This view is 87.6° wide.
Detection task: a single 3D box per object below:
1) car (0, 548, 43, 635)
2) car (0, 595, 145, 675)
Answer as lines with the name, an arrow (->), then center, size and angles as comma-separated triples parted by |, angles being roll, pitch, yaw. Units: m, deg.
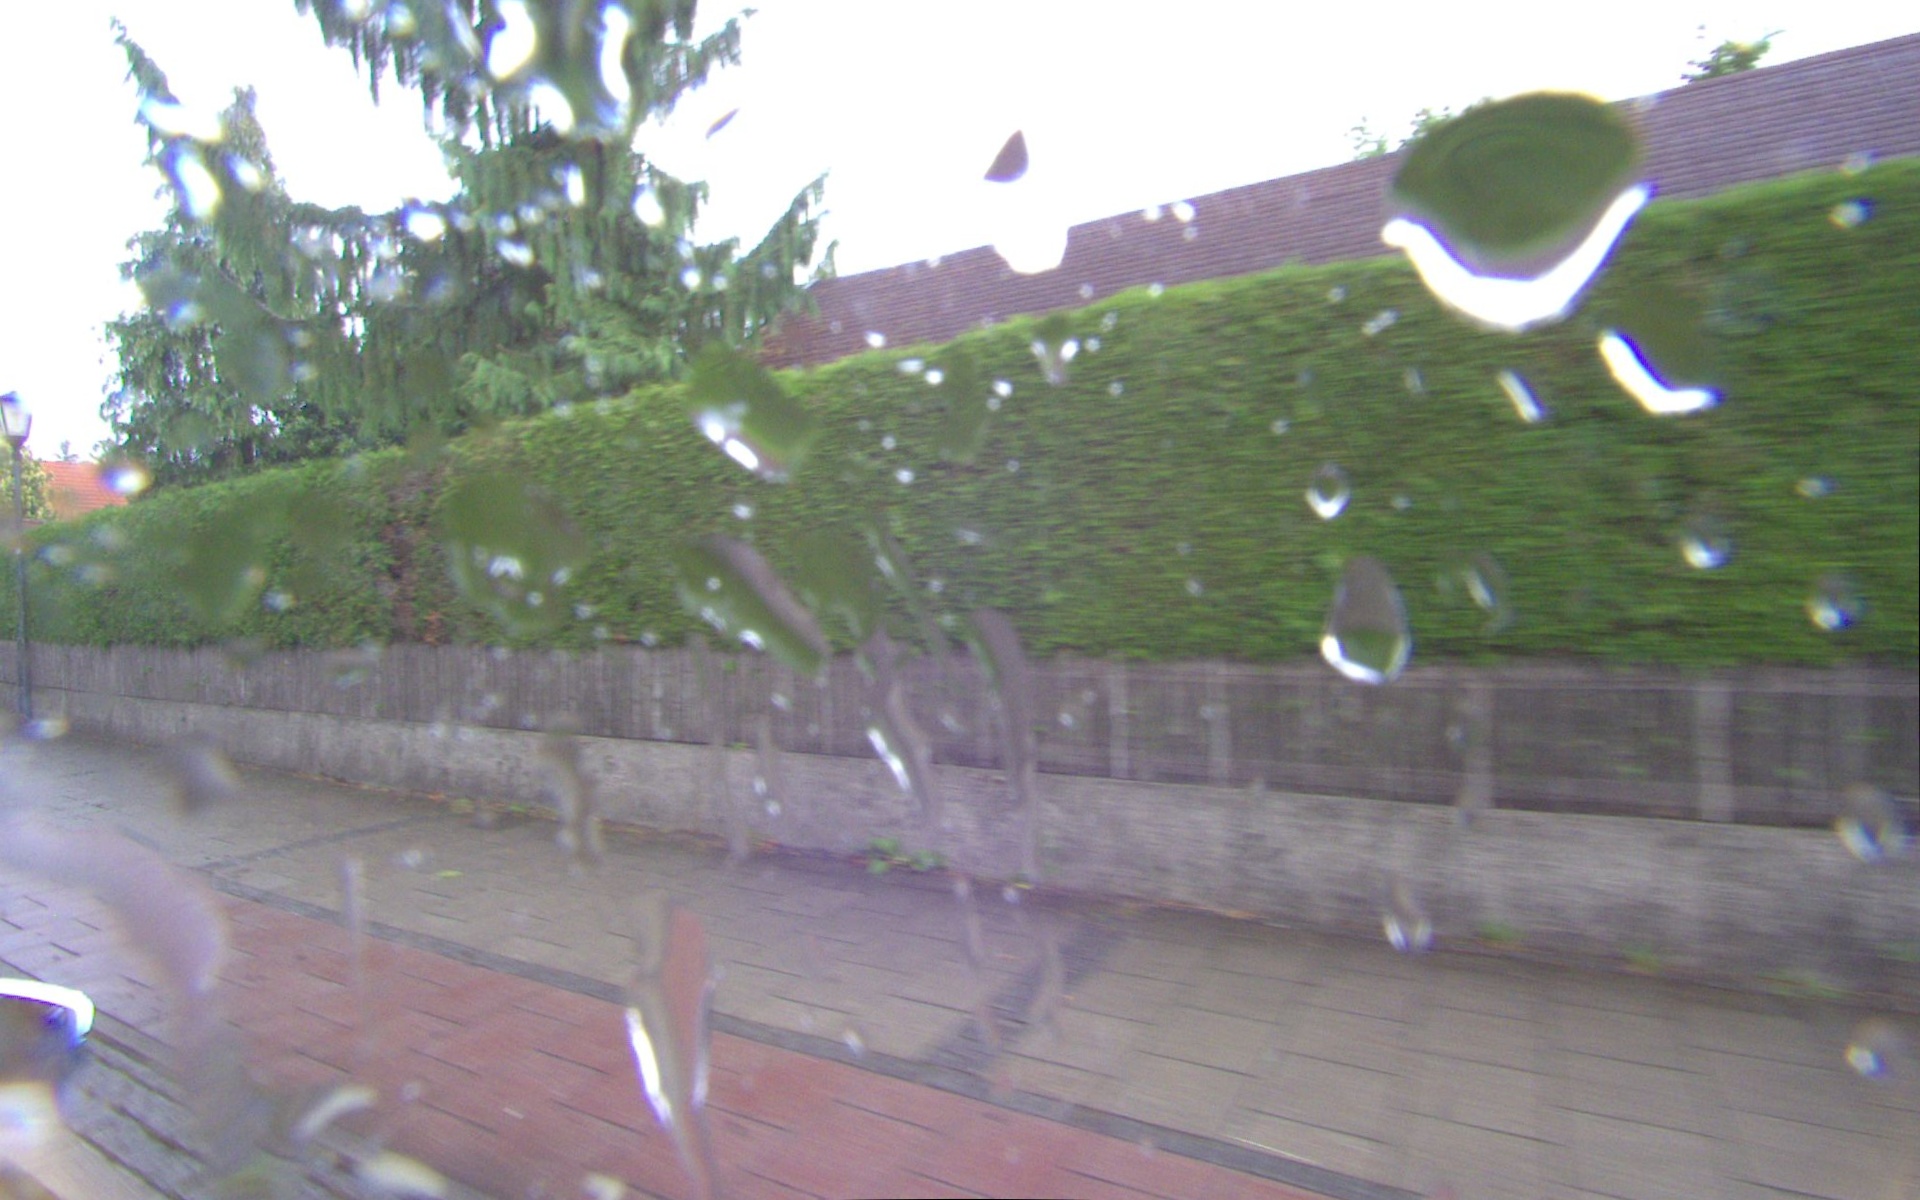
car -> -26.714, -0.165, 26.301 | 4.869, 2.201, 1.996 | -1, -2, 22
car -> -22.240, 0.810, 23.822 | 1.669, 1.776, 4.085 | 2, 2, 32
